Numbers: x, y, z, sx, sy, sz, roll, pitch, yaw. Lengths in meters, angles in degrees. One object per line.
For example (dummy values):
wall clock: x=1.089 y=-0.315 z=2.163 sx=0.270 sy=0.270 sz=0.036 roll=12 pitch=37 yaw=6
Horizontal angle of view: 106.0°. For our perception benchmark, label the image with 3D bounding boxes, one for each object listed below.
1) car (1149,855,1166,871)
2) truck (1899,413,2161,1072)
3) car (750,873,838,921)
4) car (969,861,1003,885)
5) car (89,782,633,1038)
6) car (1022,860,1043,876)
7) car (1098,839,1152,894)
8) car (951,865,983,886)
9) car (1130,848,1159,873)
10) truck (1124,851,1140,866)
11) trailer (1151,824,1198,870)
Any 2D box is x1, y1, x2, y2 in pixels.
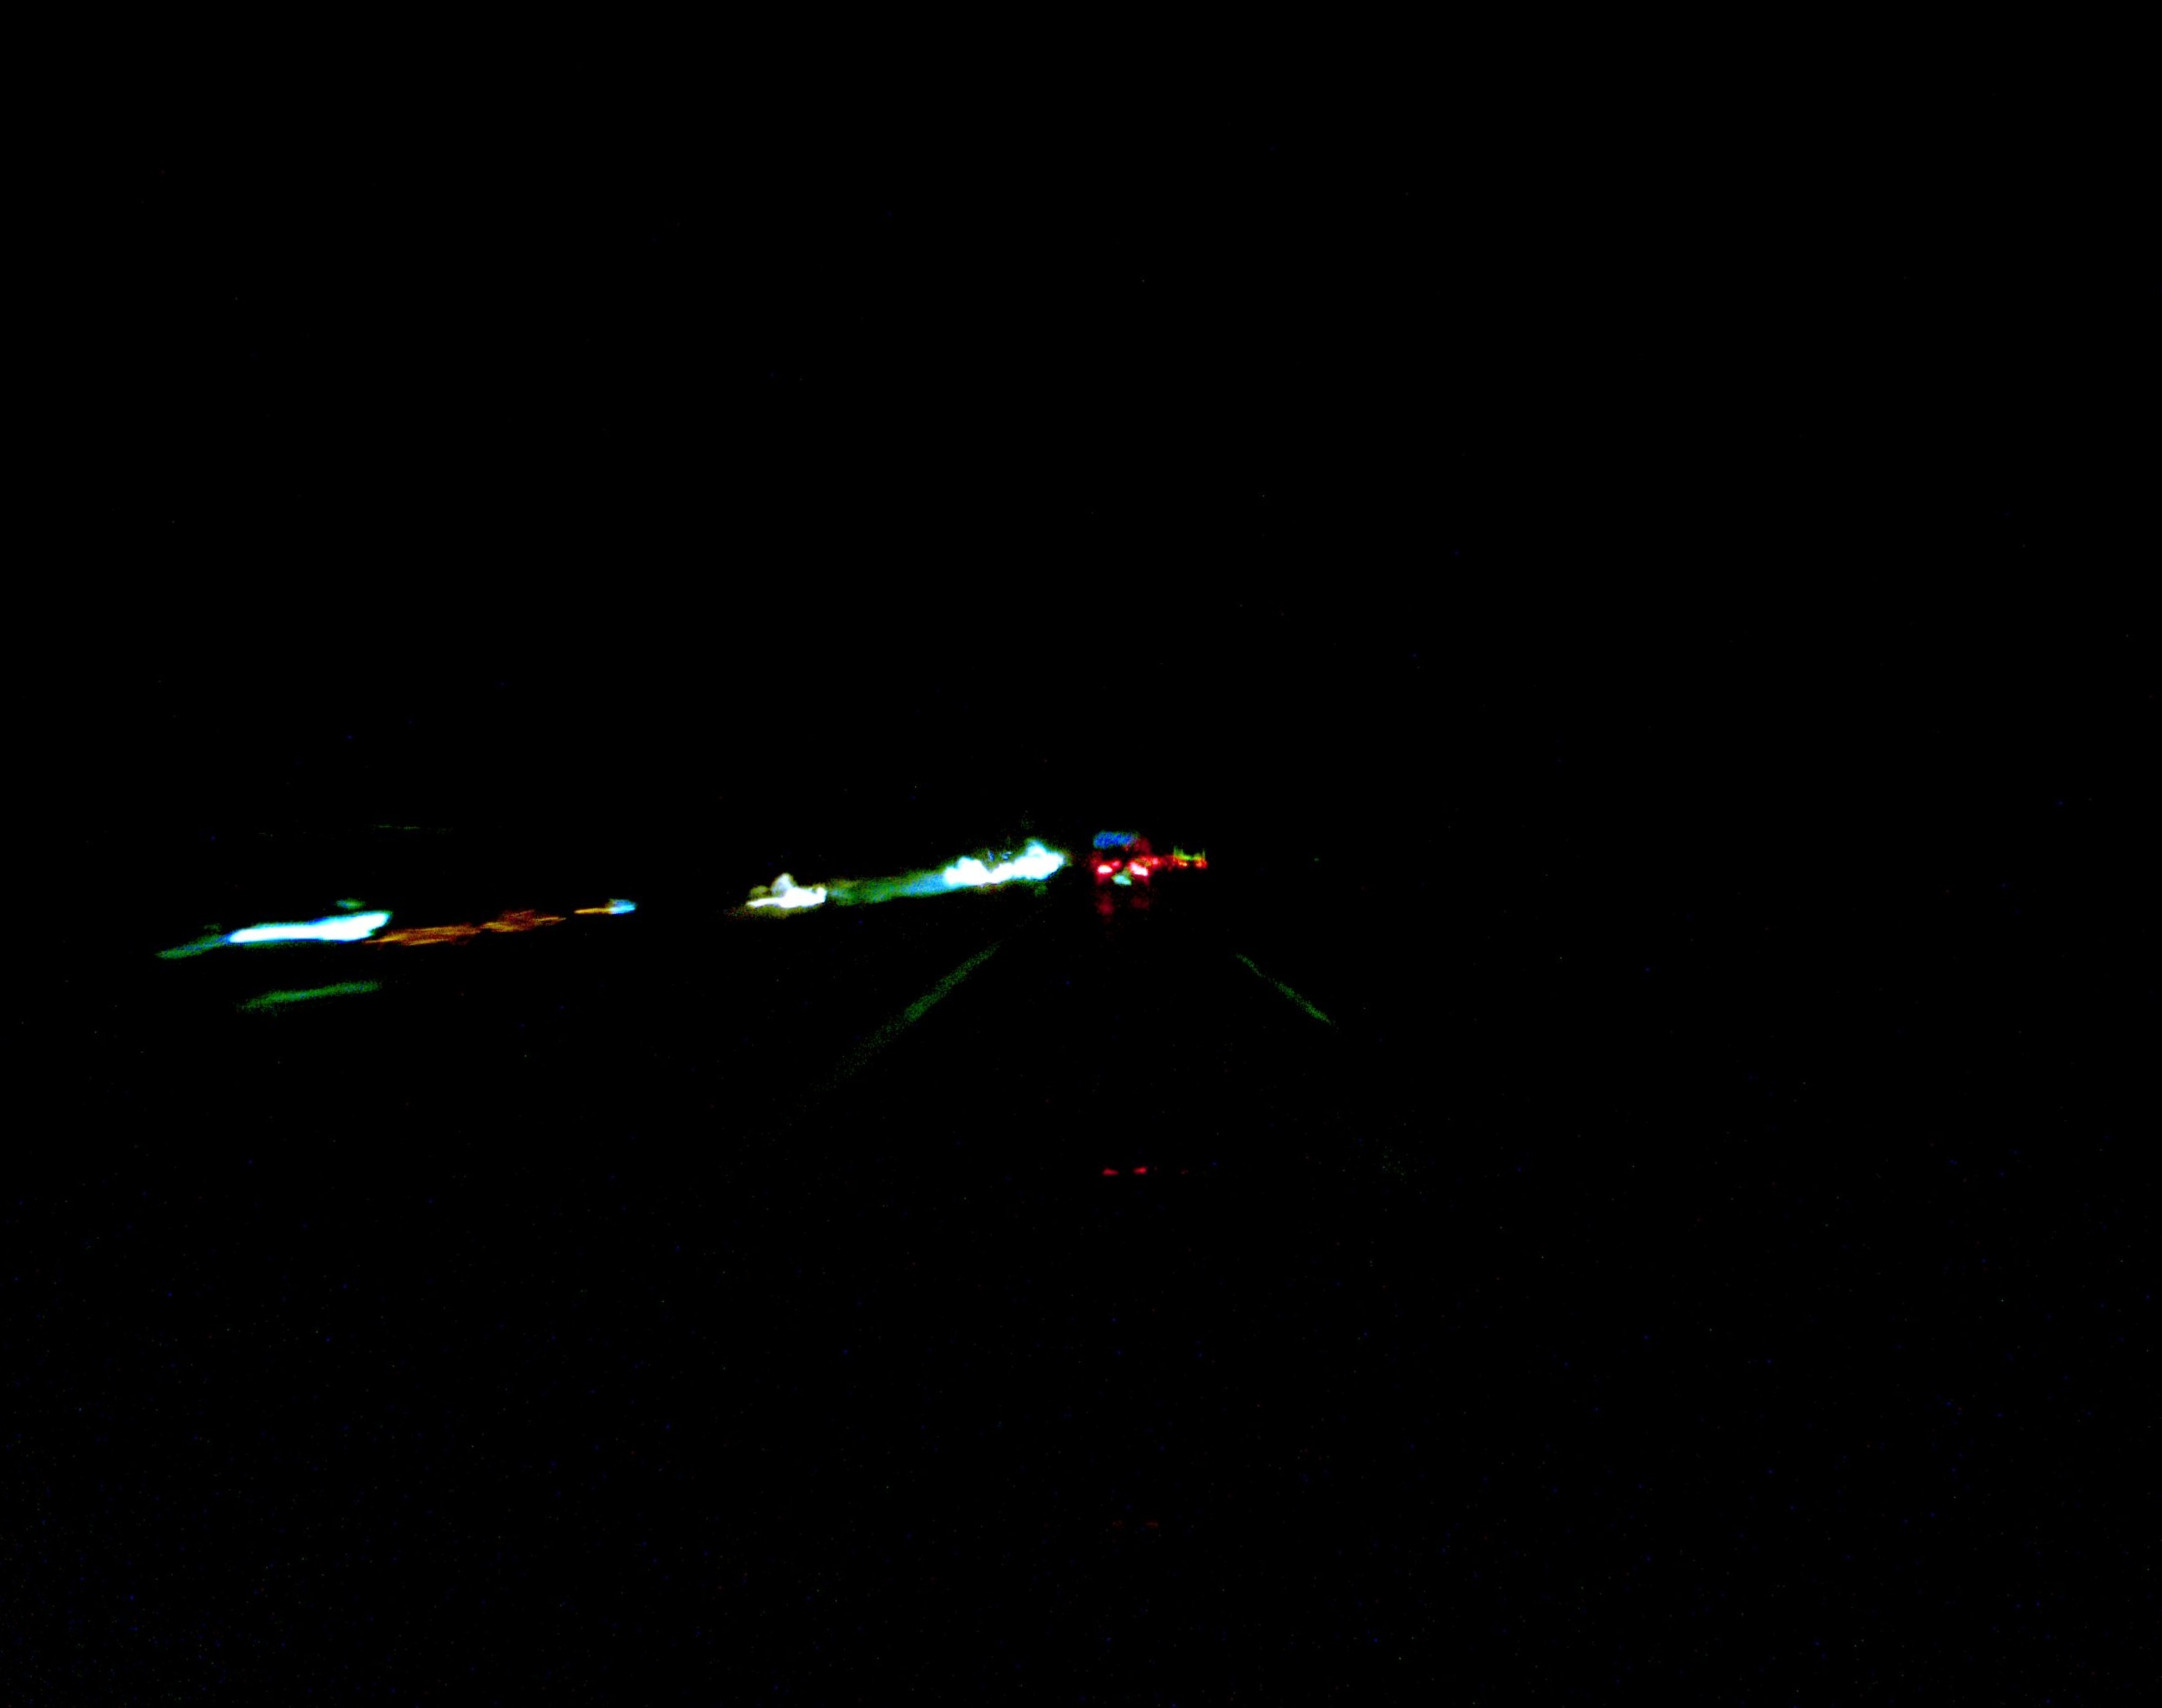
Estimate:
car: x=10.952 y=1.298 z=116.770 sx=1.988 sy=2.013 sz=3.997 roll=-3 pitch=-1 yaw=-2
truck: x=8.185 y=-0.737 z=3.651 sx=2.893 sy=4.108 sz=6.032 roll=-3 pitch=0 yaw=1
car: x=-11.410 y=1.680 z=32.724 sx=1.909 sy=1.684 sz=4.002 roll=-3 pitch=-1 yaw=2
car: x=-7.367 y=1.448 z=63.581 sx=1.909 sy=1.684 sz=4.002 roll=-3 pitch=-1 yaw=2
car: x=-16.256 y=0.983 z=20.363 sx=3.690 sy=4.728 sz=10.606 roll=0 pitch=1 yaw=3
car: x=-5.621 y=1.638 z=94.633 sx=1.909 sy=1.684 sz=4.508 roll=-3 pitch=-1 yaw=2
car: x=1.689 y=0.490 z=32.477 sx=1.987 sy=2.014 sz=4.000 roll=-1 pitch=-1 yaw=1
car: x=-10.048 y=1.895 z=72.105 sx=1.909 sy=1.684 sz=4.508 roll=-3 pitch=-1 yaw=2
car: x=5.545 y=0.552 z=71.702 sx=1.988 sy=2.013 sz=3.997 roll=-3 pitch=-1 yaw=-2
truck: x=11.948 y=0.987 z=193.294 sx=3.027 sy=3.297 sz=11.380 roll=-3 pitch=-1 yaw=0
trailer: x=9.305 y=-0.602 z=82.569 sx=3.031 sy=4.108 sz=13.827 roll=-3 pitch=-1 yaw=0
